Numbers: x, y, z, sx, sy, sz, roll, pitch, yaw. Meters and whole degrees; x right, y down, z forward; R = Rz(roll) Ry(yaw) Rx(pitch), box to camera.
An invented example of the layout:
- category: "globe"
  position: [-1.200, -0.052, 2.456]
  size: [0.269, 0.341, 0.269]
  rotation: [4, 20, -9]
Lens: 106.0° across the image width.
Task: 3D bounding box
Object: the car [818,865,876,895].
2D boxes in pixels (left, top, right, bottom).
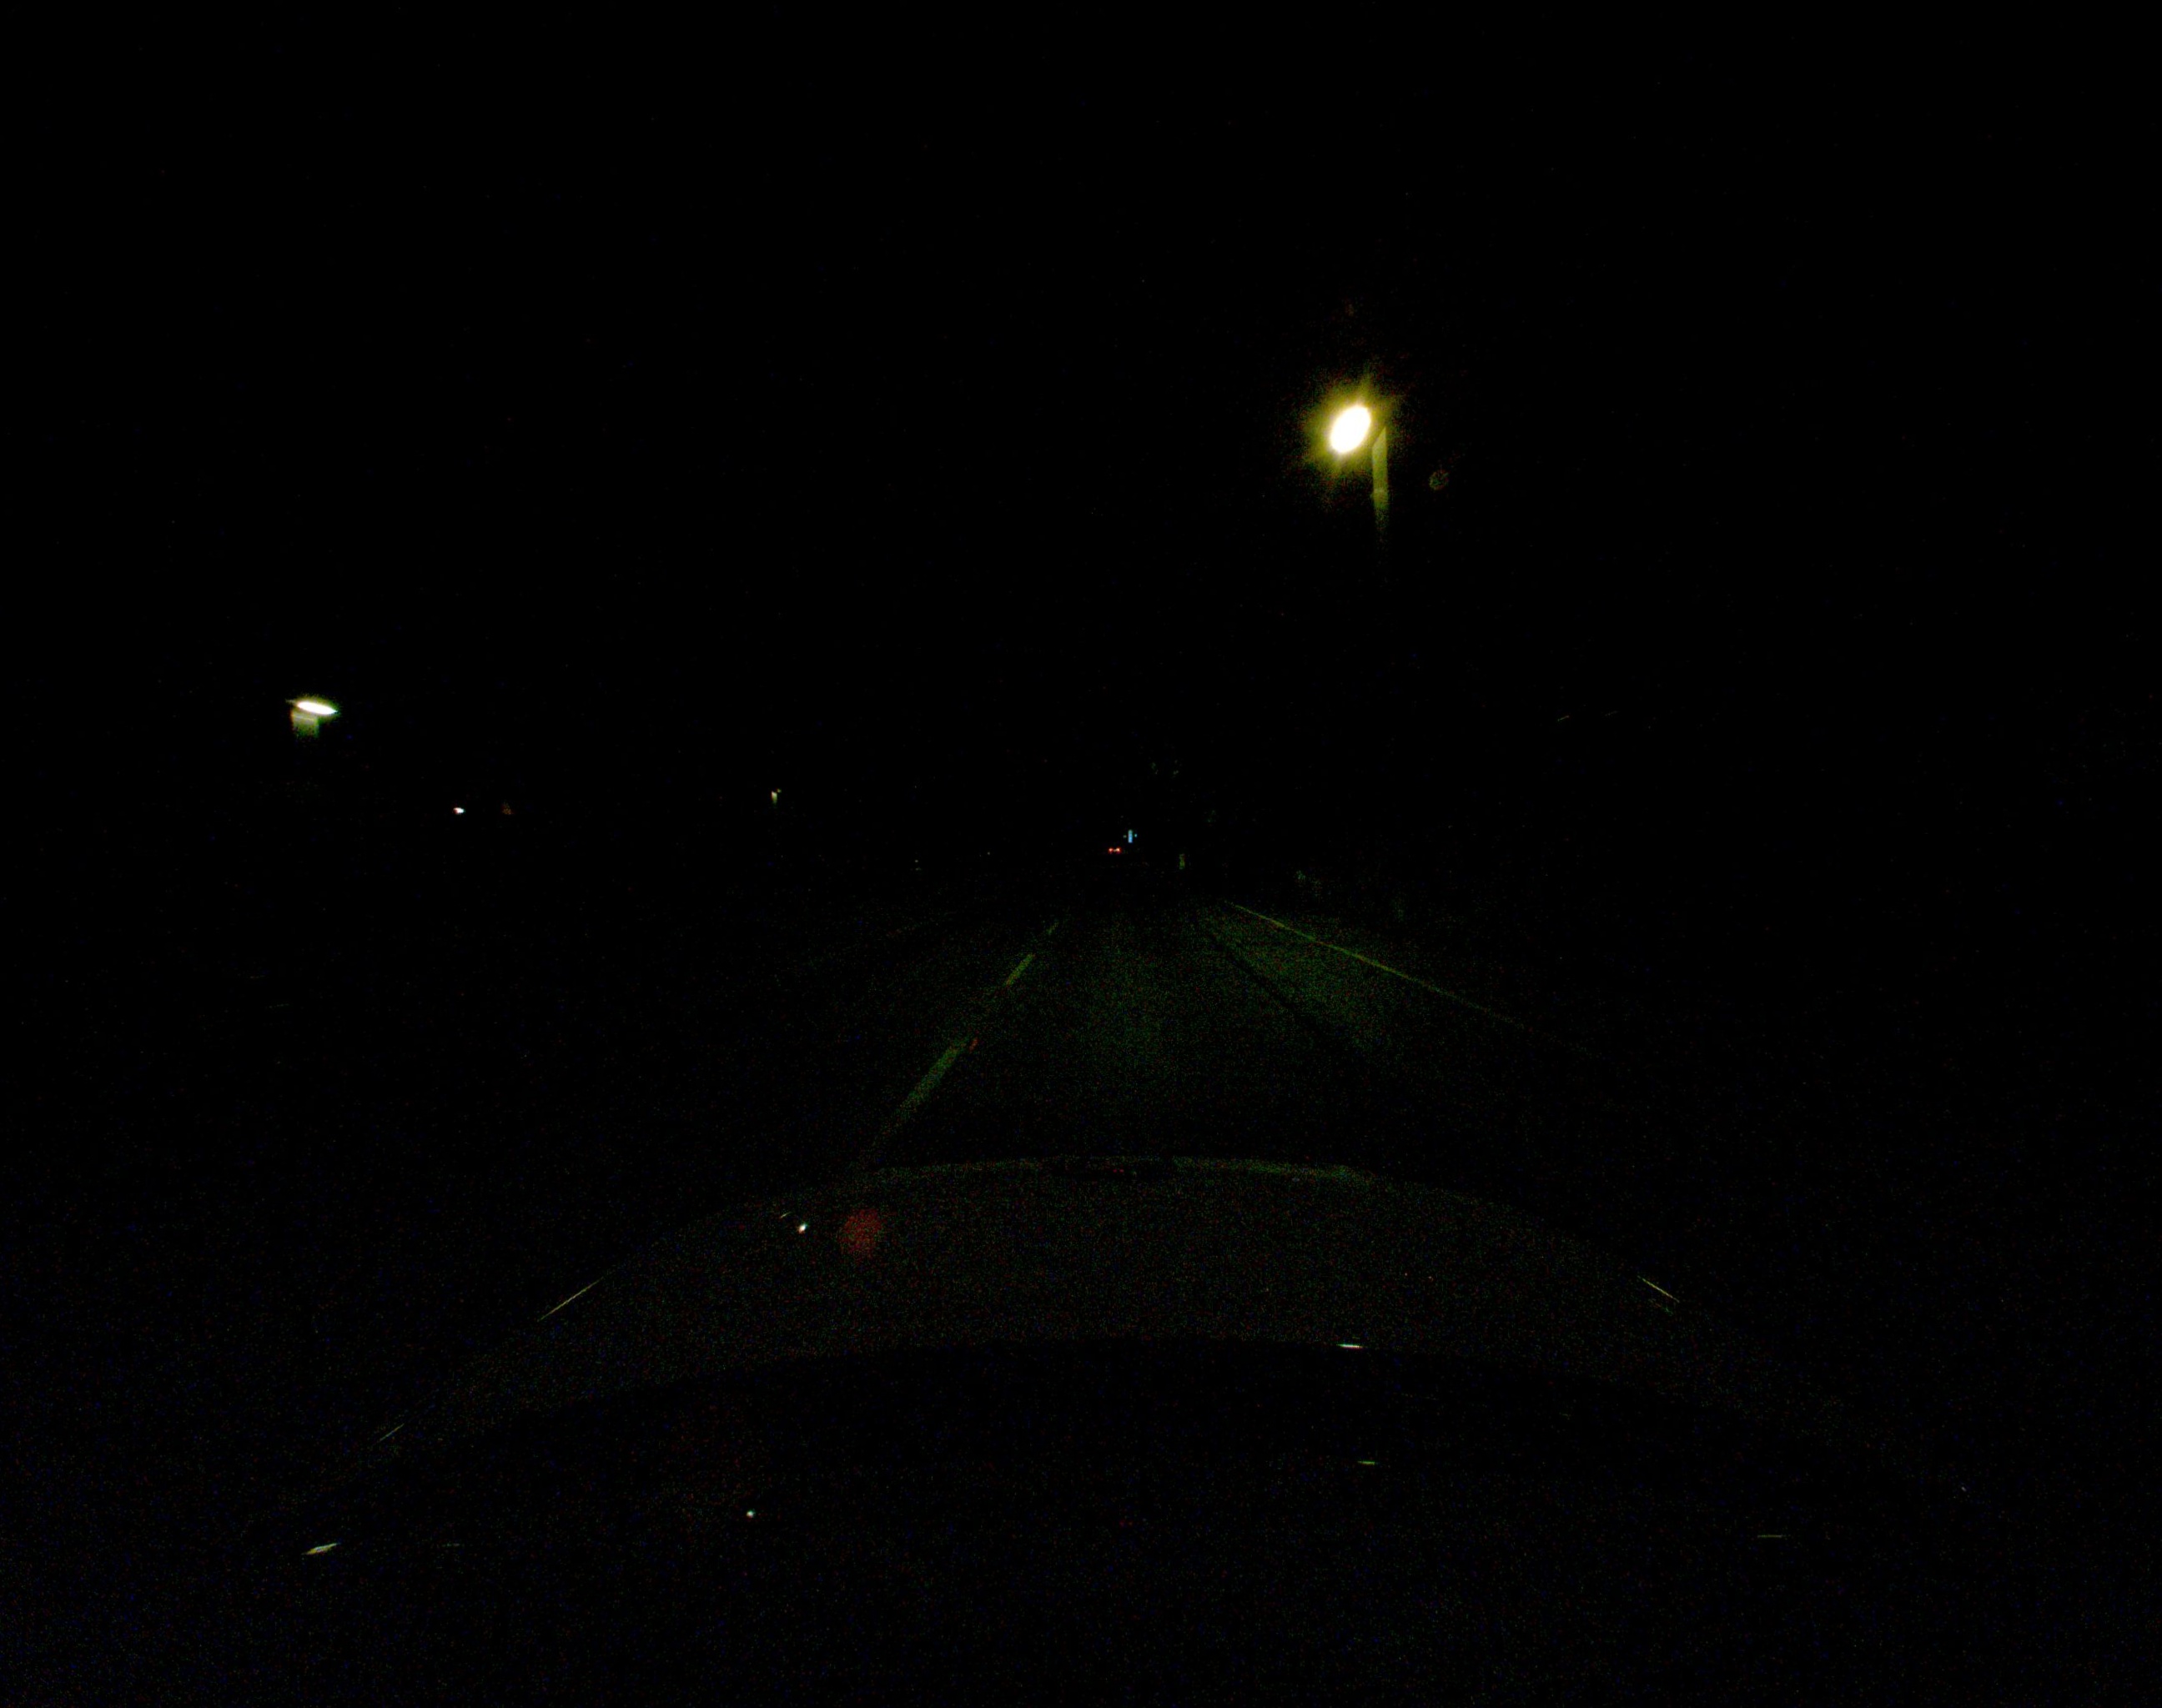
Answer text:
- category: "car"
  position: [-13.923, 1.524, 48.763]
  size: [1.986, 1.628, 4.678]
  rotation: [-2, 0, 1]

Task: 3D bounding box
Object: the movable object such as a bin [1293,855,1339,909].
- category: "movable object such as a bin"
  position: [5.406, 0.631, 18.782]
  size: [0.829, 1.181, 0.829]
  rotation: [-2, 0, 4]

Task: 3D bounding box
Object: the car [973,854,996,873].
- category: "car"
  position: [-11.775, 1.101, 99.392]
  size: [2.084, 2.013, 4.001]
  rotation: [-6, 0, 1]

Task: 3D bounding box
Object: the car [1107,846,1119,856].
- category: "car"
  position: [5.641, -0.472, 142.667]
  size: [2.153, 1.583, 4.016]
  rotation: [-2, -1, 2]

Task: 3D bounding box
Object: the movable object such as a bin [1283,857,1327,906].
- category: "movable object such as a bin"
  position: [5.392, 0.648, 19.659]
  size: [0.853, 1.119, 0.841]
  rotation: [-2, 0, 4]

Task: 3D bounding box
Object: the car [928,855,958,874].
- category: "car"
  position: [-12.615, 0.939, 74.629]
  size: [1.986, 1.530, 4.001]
  rotation: [-2, 0, 1]

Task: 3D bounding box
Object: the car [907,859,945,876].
- category: "car"
  position: [-13.054, 1.118, 68.889]
  size: [1.986, 1.338, 5.433]
  rotation: [-2, 0, 1]
